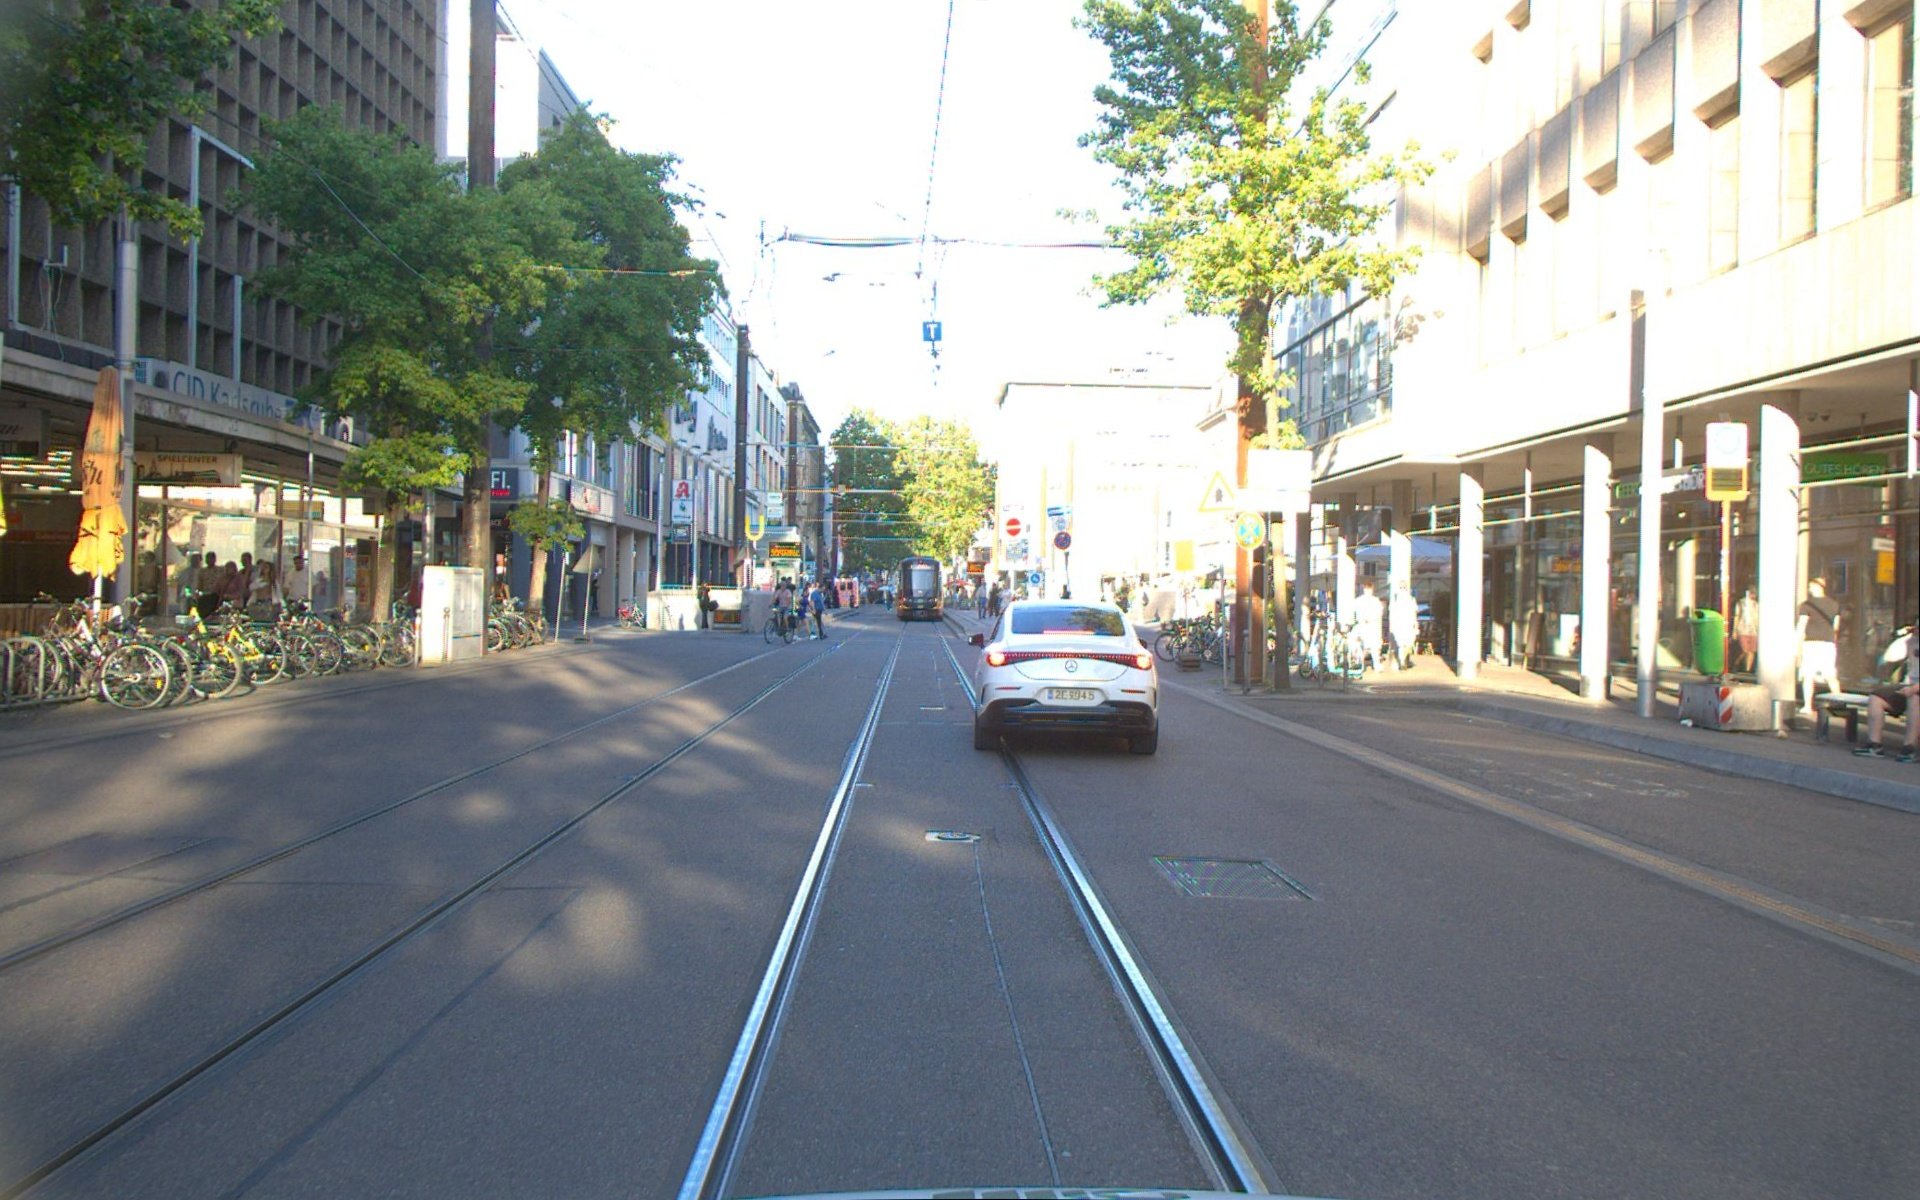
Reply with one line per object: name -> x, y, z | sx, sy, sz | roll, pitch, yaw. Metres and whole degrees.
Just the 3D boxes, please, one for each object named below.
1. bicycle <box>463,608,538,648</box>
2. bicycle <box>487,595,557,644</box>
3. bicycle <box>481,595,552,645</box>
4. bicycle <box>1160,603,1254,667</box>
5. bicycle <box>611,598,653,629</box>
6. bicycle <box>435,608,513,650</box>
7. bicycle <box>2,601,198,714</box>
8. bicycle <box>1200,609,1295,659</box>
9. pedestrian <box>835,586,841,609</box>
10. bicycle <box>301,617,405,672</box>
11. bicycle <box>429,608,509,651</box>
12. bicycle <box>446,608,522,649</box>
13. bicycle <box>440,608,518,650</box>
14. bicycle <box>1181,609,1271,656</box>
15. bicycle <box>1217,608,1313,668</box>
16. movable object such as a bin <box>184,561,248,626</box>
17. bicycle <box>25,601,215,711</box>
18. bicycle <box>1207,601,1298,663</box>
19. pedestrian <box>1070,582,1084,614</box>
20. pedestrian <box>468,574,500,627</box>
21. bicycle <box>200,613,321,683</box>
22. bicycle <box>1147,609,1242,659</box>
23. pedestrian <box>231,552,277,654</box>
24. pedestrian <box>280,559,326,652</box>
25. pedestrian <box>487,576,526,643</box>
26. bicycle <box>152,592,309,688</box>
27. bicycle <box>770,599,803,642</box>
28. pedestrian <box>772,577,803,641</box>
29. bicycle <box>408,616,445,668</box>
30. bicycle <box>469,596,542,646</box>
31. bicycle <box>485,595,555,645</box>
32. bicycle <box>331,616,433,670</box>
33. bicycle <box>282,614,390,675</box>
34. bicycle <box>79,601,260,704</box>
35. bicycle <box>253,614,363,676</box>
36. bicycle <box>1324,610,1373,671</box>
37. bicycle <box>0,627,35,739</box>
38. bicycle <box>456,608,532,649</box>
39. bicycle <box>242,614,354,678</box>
bicycle -> -9.770, 0.589, 35.157 | 1.462, 0.797, 0.344 | 2, 0, 0
bicycle -> -9.871, 0.445, 37.298 | 1.466, 1.047, 0.343 | 2, 0, -12
bicycle -> -9.797, 0.446, 36.553 | 1.466, 1.047, 0.343 | 2, 0, -12
bicycle -> 5.274, 0.738, 35.318 | 1.875, 1.303, 0.608 | -1, 0, -13
bicycle -> -11.434, 0.459, 57.704 | 0.703, 1.027, 2.041 | 1, 0, 12
bicycle -> -9.902, 0.593, 33.701 | 1.462, 0.797, 0.344 | 2, 0, 0
bicycle -> -8.932, 0.595, 17.215 | 1.754, 1.096, 0.377 | 2, 0, -6
bicycle -> 6.541, 0.773, 37.673 | 2.078, 1.115, 0.607 | 0, 0, -15
pedestrian -> -9.034, -0.176, 122.478 | 0.405, 1.658, 0.606 | 1, 0, -1
bicycle -> -9.444, 0.690, 25.737 | 1.462, 0.797, 0.344 | 2, 0, 0
bicycle -> -9.896, 0.593, 33.346 | 1.462, 0.797, 0.344 | 2, 0, 0
bicycle -> -9.905, 0.589, 34.421 | 1.462, 0.797, 0.344 | 2, 0, 0
bicycle -> -9.905, 0.591, 34.060 | 1.462, 0.797, 0.344 | 2, 0, 0
bicycle -> 6.416, 0.784, 39.868 | 2.077, 1.115, 0.608 | 0, 0, -13
bicycle -> 6.371, 0.784, 34.521 | 1.875, 1.177, 0.608 | -1, 0, -13
movable object such as a bin -> -12.354, -0.107, 27.484 | 0.700, 1.057, 0.980 | 1, 0, -7
bicycle -> -8.954, 0.595, 17.665 | 1.754, 1.096, 0.377 | 2, 0, -6
bicycle -> 6.405, 0.692, 36.256 | 1.875, 1.303, 0.608 | -1, 0, -13
pedestrian -> 6.723, -0.130, 95.430 | 0.712, 1.816, 0.707 | 1, 0, -2
pedestrian -> -15.834, 0.021, 55.011 | 0.806, 1.736, 0.980 | 1, 0, -3
bicycle -> -9.602, 0.660, 22.719 | 1.464, 0.892, 0.344 | 2, 0, -8
bicycle -> 5.434, 0.782, 38.308 | 2.077, 1.115, 0.608 | 1, 0, -13
pedestrian -> -12.581, 0.047, 29.471 | 0.705, 1.797, 0.679 | 1, 0, -26
pedestrian -> -12.835, 0.113, 32.304 | 0.776, 1.797, 0.533 | 1, 0, -26
pedestrian -> -11.311, 0.239, 41.290 | 0.734, 1.651, 0.980 | 1, 0, -4
bicycle -> -9.436, 0.516, 21.413 | 1.809, 1.160, 0.377 | 2, 0, 0
bicycle -> -5.084, 0.591, 48.586 | 0.784, 1.162, 2.256 | 2, 0, -3
pedestrian -> -5.071, 0.265, 48.555 | 0.784, 1.813, 0.848 | 2, 0, -3
bicycle -> -8.802, 0.686, 27.328 | 0.337, 0.797, 1.402 | 2, 0, -9
bicycle -> -9.917, 0.454, 36.111 | 1.466, 1.027, 0.343 | 2, 0, -12
bicycle -> -9.817, 0.445, 36.927 | 1.466, 1.047, 0.343 | 2, 0, -12
bicycle -> -9.206, 0.684, 26.361 | 1.462, 0.797, 0.344 | 2, 0, 0
bicycle -> -9.454, 0.667, 25.068 | 1.462, 0.855, 0.344 | 2, 0, 0
bicycle -> -9.034, 0.596, 18.939 | 1.810, 1.096, 0.376 | 2, 0, -6
bicycle -> -9.625, 0.662, 24.425 | 1.462, 0.855, 0.344 | 2, 0, 0
bicycle -> 7.706, 0.783, 32.861 | 0.553, 1.147, 1.930 | -1, 0, 2
bicycle -> -8.997, 0.690, 14.509 | 1.562, 0.946, 0.377 | 2, 0, 5
bicycle -> -9.794, 0.597, 34.787 | 1.462, 0.797, 0.344 | 2, 0, 0
bicycle -> -9.610, 0.662, 24.030 | 1.462, 0.855, 0.344 | 2, 0, 0
